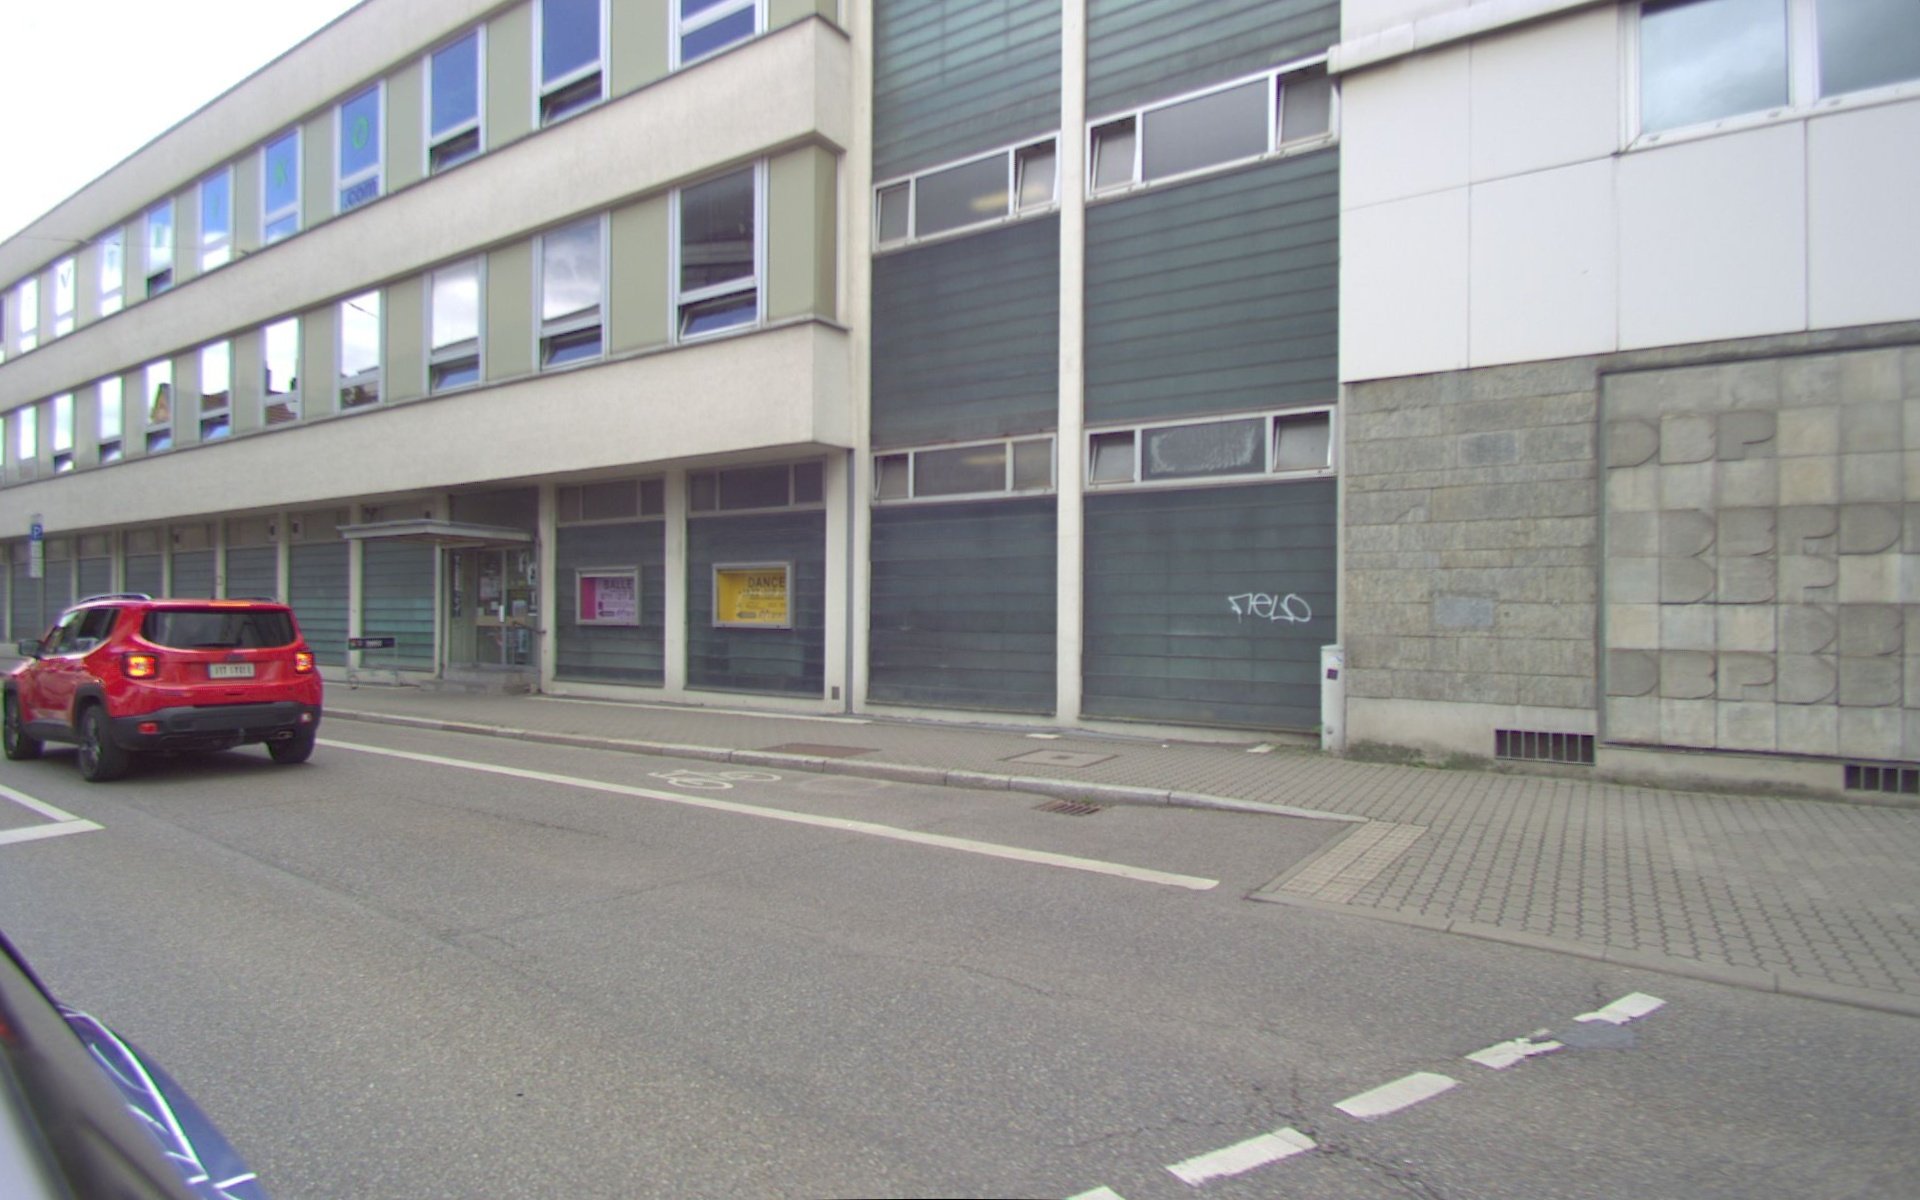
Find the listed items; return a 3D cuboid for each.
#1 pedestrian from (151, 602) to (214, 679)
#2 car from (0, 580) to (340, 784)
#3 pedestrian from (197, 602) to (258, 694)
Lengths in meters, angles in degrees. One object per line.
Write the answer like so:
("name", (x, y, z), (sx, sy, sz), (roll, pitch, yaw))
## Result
("pedestrian", (-18.306, 0.936, 23.829), (1.028, 1.731, 0.855), (-1, 0, 32))
("car", (-8.224, 0.736, 10.332), (3.887, 1.707, 1.784), (-1, -2, 34))
("pedestrian", (-14.050, 0.907, 19.417), (1.052, 1.731, 0.585), (-1, -2, 32))
